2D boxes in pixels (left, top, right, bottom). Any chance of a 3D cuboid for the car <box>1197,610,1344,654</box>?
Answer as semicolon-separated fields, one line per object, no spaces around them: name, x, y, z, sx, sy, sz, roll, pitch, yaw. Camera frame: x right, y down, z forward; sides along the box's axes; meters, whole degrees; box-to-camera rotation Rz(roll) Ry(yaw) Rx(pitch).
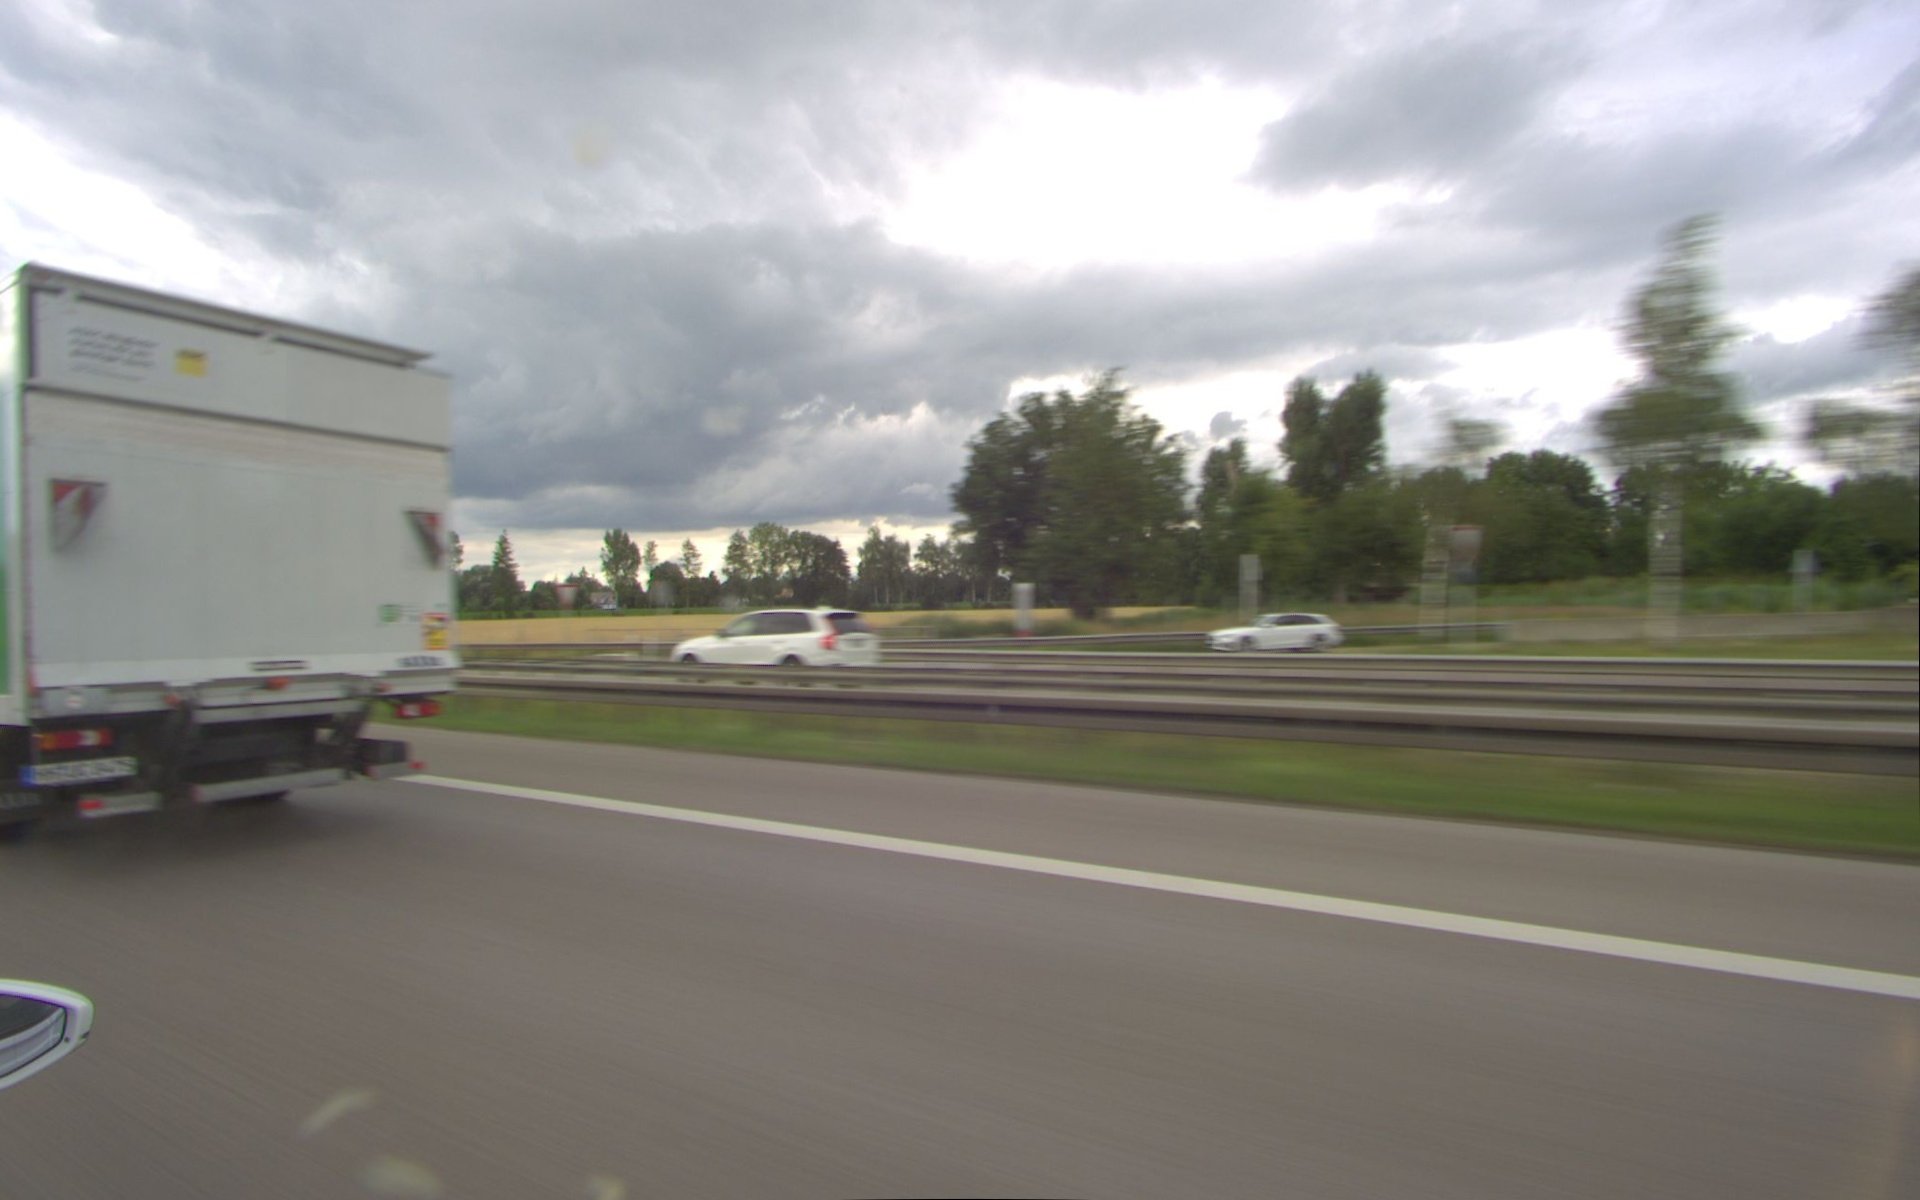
car;11.124;1.155;36.013;4.694;1.486;1.999;0;-2;-13

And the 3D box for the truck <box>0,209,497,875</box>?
truck;-8.043;-0.223;8.927;8.933;3.550;2.765;-1;-1;33

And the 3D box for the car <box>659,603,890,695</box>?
car;-4.054;0.990;21.573;4.993;1.780;1.824;-1;0;33
